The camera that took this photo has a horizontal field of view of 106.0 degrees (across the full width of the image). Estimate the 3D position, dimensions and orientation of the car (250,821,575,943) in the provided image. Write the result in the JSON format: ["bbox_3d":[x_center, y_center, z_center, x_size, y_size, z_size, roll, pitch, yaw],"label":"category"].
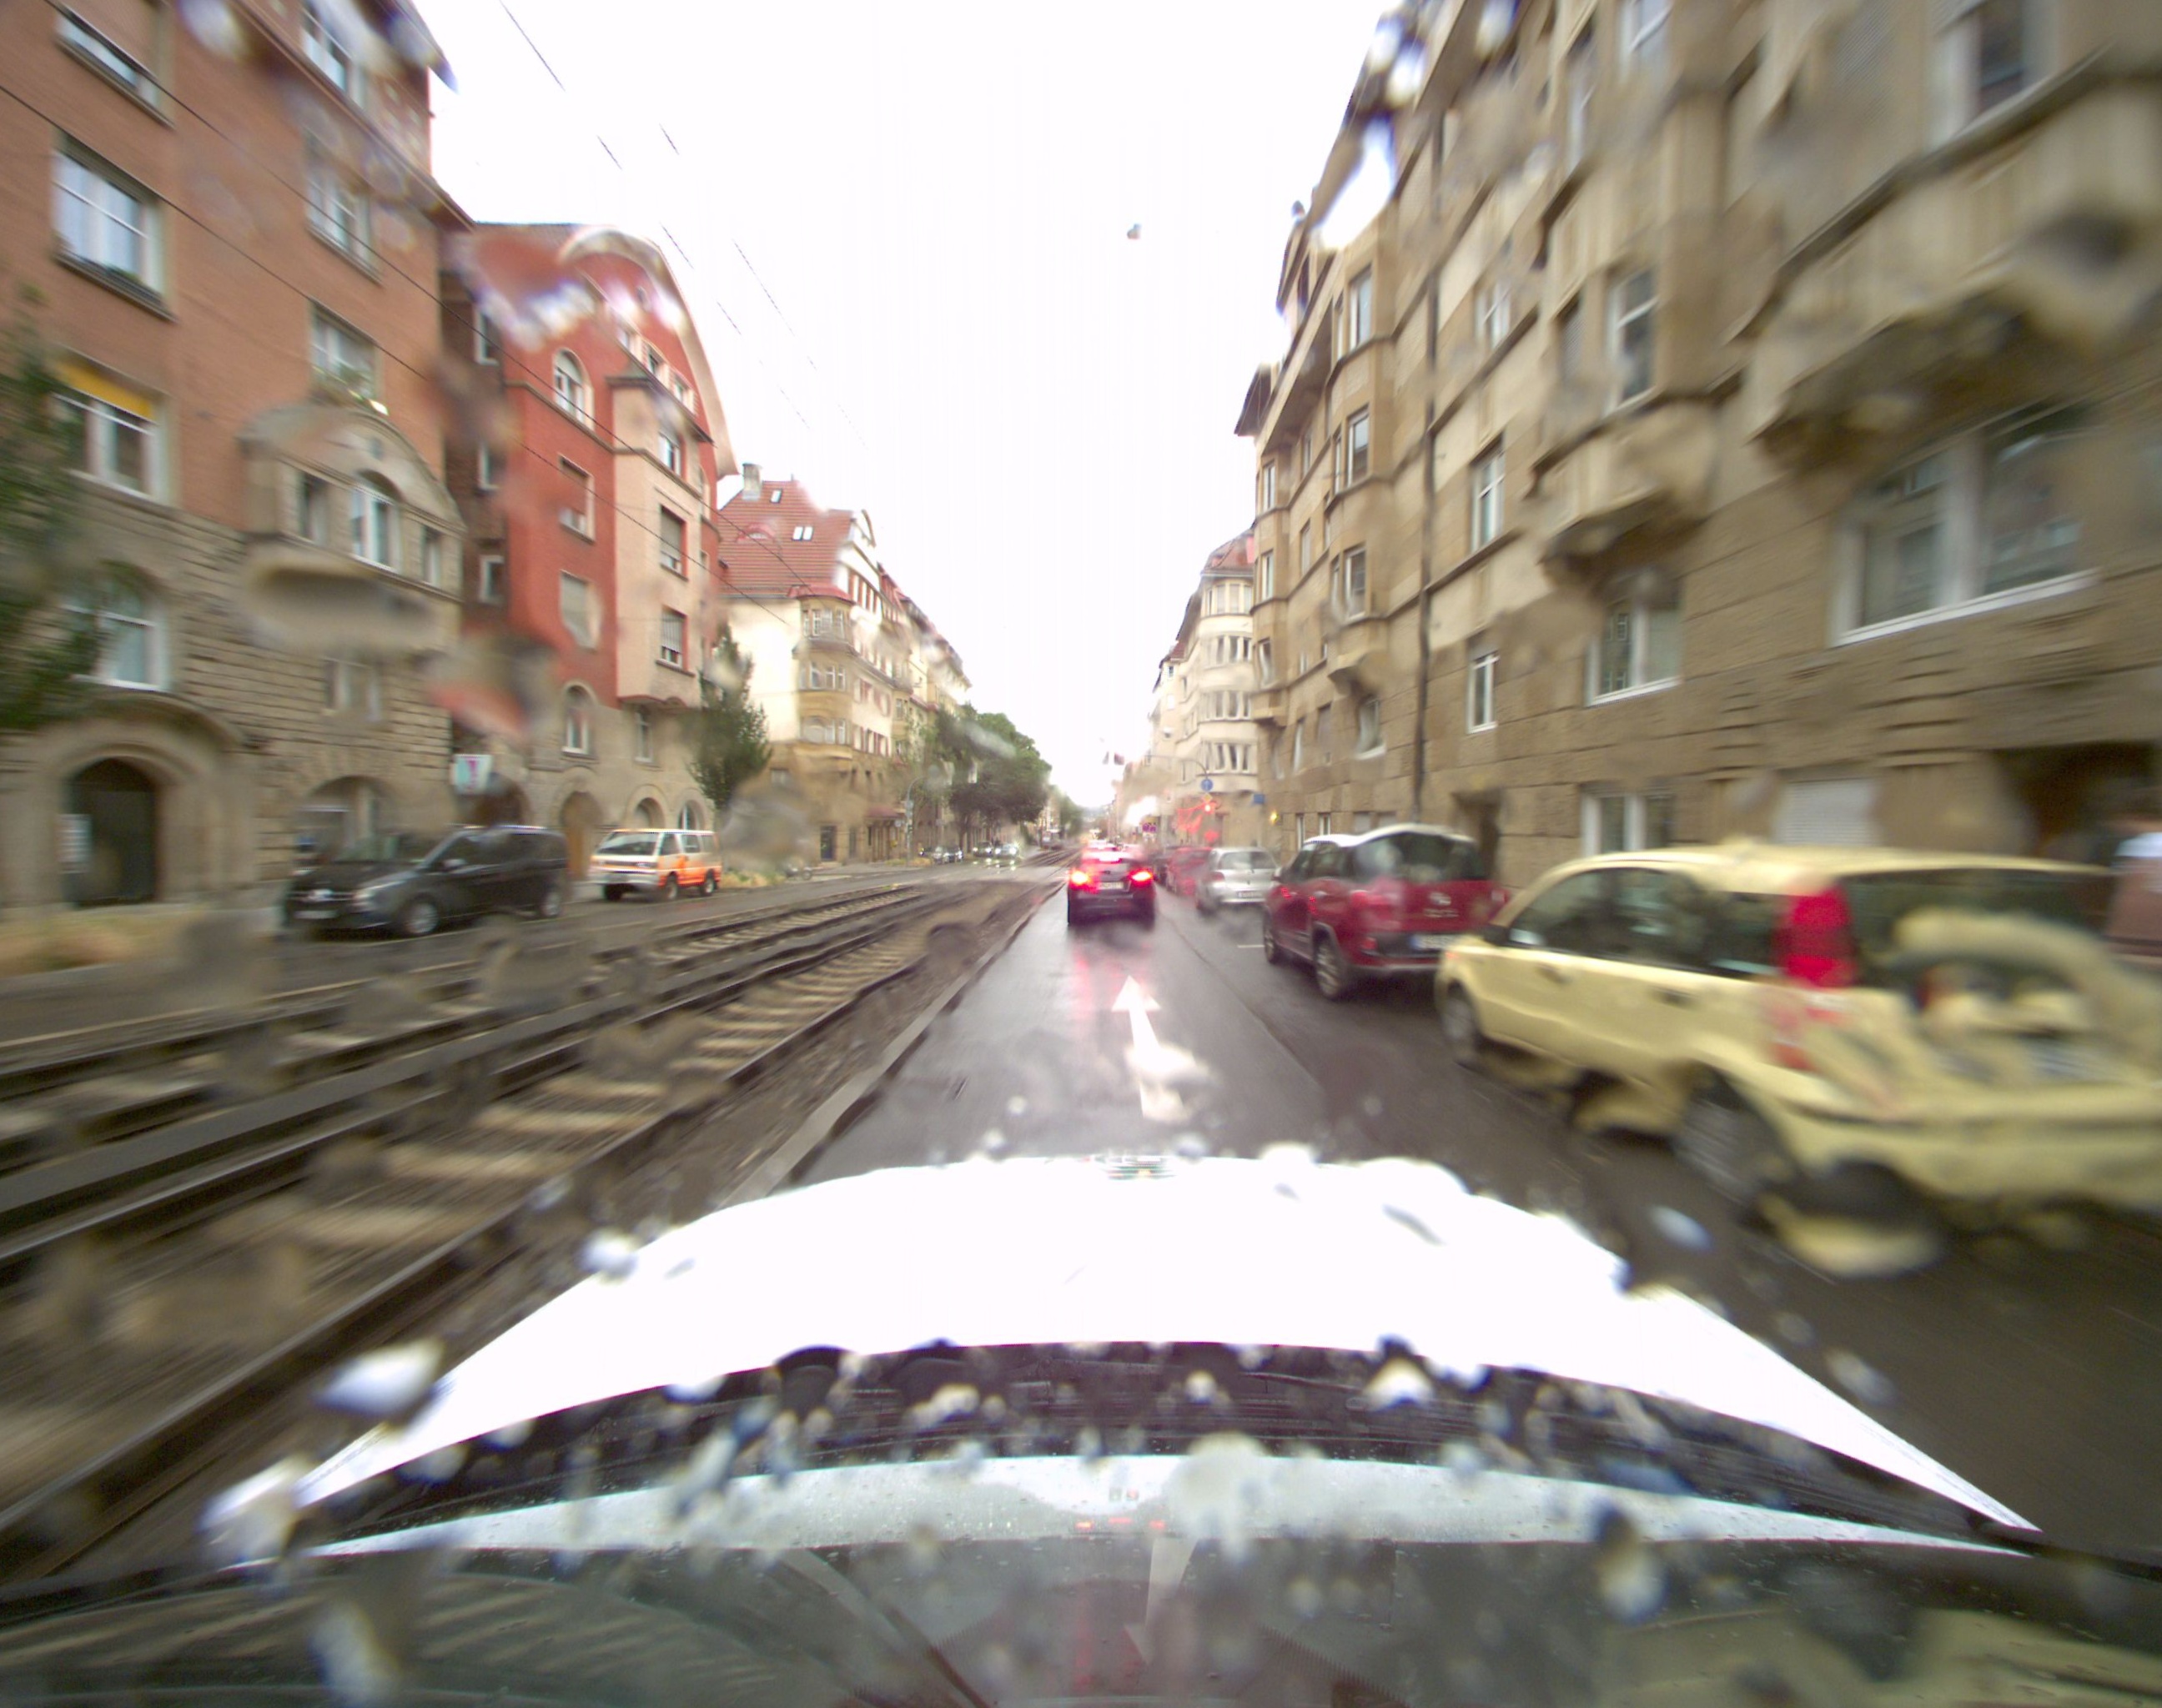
[{"bbox_3d":[-11.918,0.421,15.080,1.986,1.901,4.702,0,1,2],"label":"car"}]

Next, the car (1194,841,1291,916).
[{"bbox_3d":[3.599,0.486,18.695,1.632,1.542,3.467,0,1,2],"label":"car"}]

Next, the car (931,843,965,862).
[{"bbox_3d":[-10.893,-0.163,66.876,1.986,1.517,4.002,0,1,1],"label":"car"}]

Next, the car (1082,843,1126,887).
[{"bbox_3d":[0.875,0.350,30.700,1.530,1.510,4.002,1,1,2],"label":"car"}]

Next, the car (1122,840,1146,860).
[{"bbox_3d":[4.808,-0.360,74.887,1.764,1.776,3.996,-1,-1,-2],"label":"car"}]

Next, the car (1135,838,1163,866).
[{"bbox_3d":[5.201,-0.139,62.600,1.891,2.028,4.177,-1,-1,2],"label":"car"}]

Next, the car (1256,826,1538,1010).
[{"bbox_3d":[3.257,0.553,9.289,1.705,1.628,4.001,1,1,1],"label":"car"}]

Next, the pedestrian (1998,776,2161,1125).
[{"bbox_3d":[5.670,0.481,4.348,0.859,1.733,0.609,0,0,1],"label":"pedestrian"}]

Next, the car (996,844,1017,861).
[{"bbox_3d":[-7.407,-0.168,81.299,1.791,1.548,3.996,-1,0,-2],"label":"car"}]

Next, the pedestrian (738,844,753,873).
[{"bbox_3d":[-20.294,0.282,49.268,0.605,1.733,0.643,0,0,2],"label":"pedestrian"}]

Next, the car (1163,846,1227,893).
[{"bbox_3d":[3.587,0.453,26.065,1.597,1.419,3.148,0,1,0],"label":"car"}]

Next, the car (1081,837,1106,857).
[{"bbox_3d":[1.086,-0.591,68.803,1.913,1.655,4.003,0,1,3],"label":"car"}]

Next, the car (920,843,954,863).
[{"bbox_3d":[-10.864,-0.065,61.552,1.765,1.464,4.001,-1,0,1],"label":"car"}]

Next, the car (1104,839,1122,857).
[{"bbox_3d":[3.381,-0.629,86.367,1.846,1.797,3.813,-1,-1,1],"label":"car"}]

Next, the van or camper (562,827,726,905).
[{"bbox_3d":[-11.840,0.292,22.521,1.987,1.901,4.697,1,0,-1],"label":"van or camper"}]

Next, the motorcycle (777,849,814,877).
[{"bbox_3d":[-11.673,0.356,33.293,1.423,1.134,0.624,1,0,30],"label":"motorcycle"}]

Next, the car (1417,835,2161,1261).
[{"bbox_3d":[3.351,0.665,4.593,1.553,1.478,3.462,1,1,2],"label":"car"}]

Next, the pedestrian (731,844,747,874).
[{"bbox_3d":[-20.287,0.282,48.314,0.605,1.733,0.643,0,0,2],"label":"pedestrian"}]

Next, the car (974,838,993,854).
[{"bbox_3d":[-10.485,-0.819,87.704,1.786,1.691,3.994,0,0,-5],"label":"car"}]

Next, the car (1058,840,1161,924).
[{"bbox_3d":[0.552,0.537,17.266,1.940,1.564,3.642,-1,0,0],"label":"car"}]

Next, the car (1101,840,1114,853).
[{"bbox_3d":[3.738,-1.076,115.686,1.902,1.706,4.002,0,1,2],"label":"car"}]

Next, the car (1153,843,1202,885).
[{"bbox_3d":[3.660,0.345,31.424,1.543,1.508,4.002,1,1,2],"label":"car"}]
